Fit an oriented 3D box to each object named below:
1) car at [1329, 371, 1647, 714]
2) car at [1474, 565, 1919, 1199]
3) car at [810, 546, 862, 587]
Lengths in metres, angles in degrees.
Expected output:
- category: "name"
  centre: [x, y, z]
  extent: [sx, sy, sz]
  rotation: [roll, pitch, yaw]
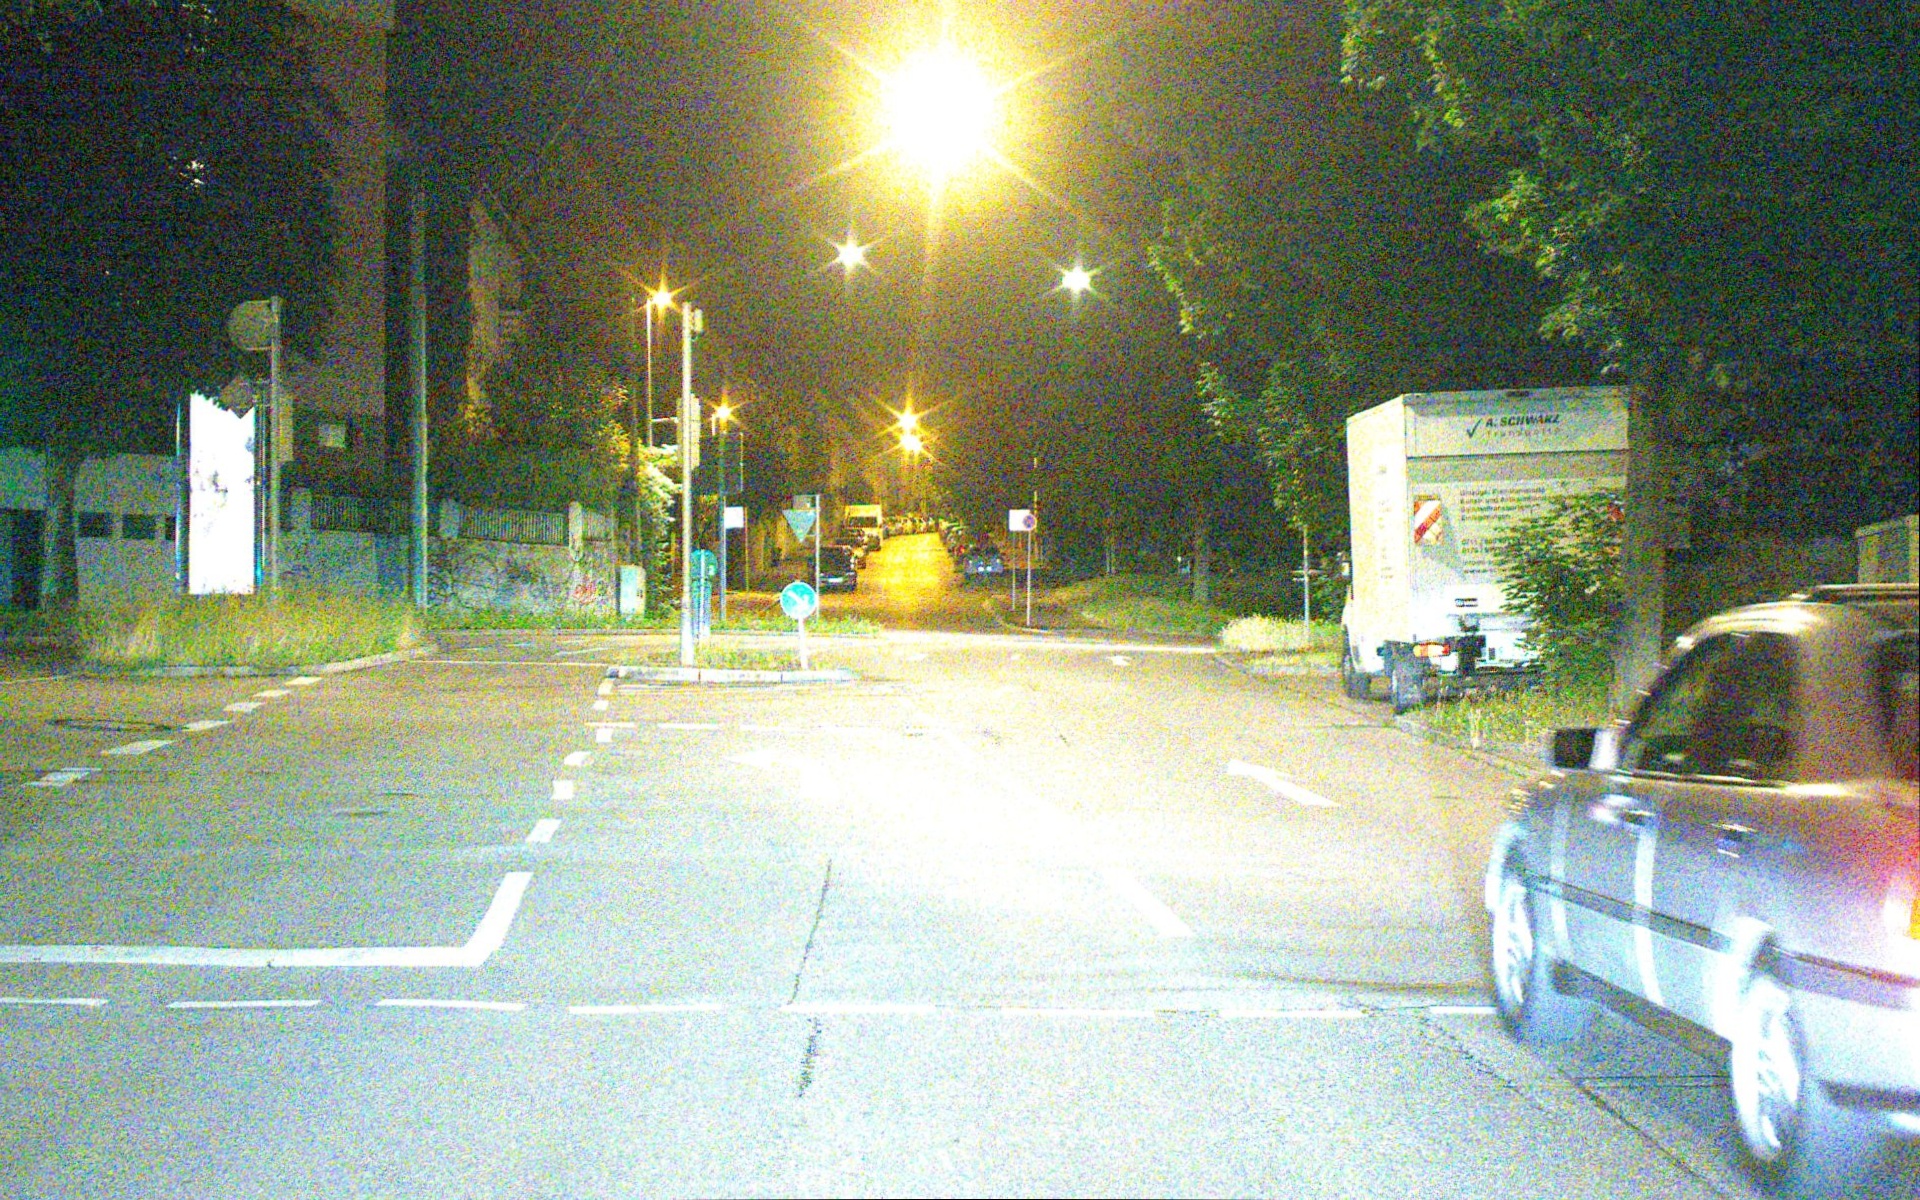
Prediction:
- category: "car"
  centre: [5.121, -0.555, 34.236]
  extent: [2.297, 3.082, 5.840]
  rotation: [-1, 1, 1]
- category: "car"
  centre: [2.634, 0.662, 9.005]
  extent: [1.776, 1.481, 4.000]
  rotation: [1, 1, -3]
- category: "car"
  centre: [-4.844, -1.297, 134.327]
  extent: [1.908, 1.552, 3.904]
  rotation: [1, 1, -1]
